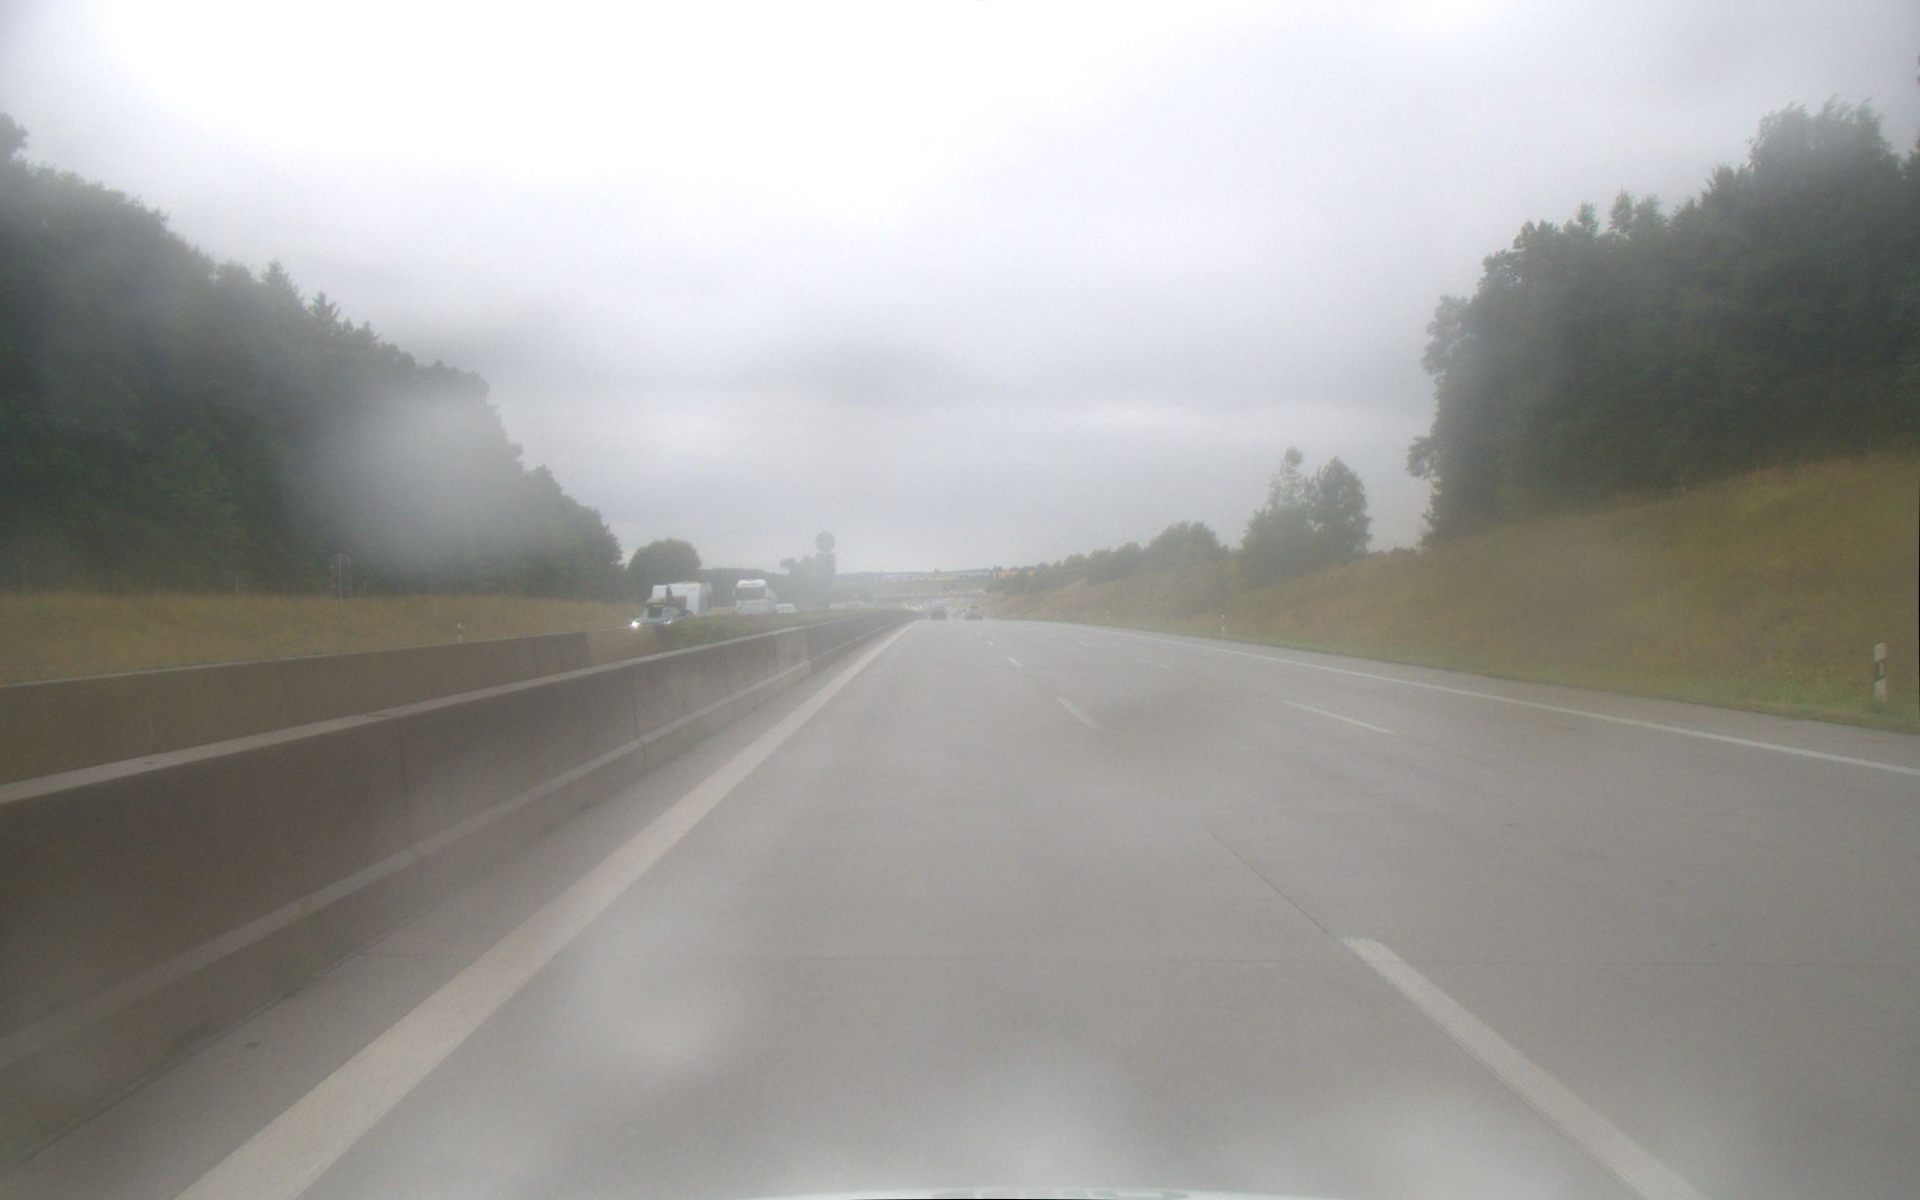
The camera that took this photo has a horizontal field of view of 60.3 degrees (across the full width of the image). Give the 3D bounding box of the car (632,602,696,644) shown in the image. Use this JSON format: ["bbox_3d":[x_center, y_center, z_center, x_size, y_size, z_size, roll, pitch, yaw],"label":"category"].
[{"bbox_3d":[-12.966,1.005,72.767,1.953,1.673,5.407,-2,-1,-2],"label":"car"}]

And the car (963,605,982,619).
[{"bbox_3d":[1.327,1.221,174.641,1.810,1.354,4.428,0,1,-2],"label":"car"}]

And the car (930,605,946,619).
[{"bbox_3d":[-2.378,1.265,176.246,1.694,1.354,4.429,0,1,-1],"label":"car"}]

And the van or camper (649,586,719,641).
[{"bbox_3d":[-13.052,0.633,78.457,2.450,2.471,5.917,-1,0,-2],"label":"van or camper"}]
